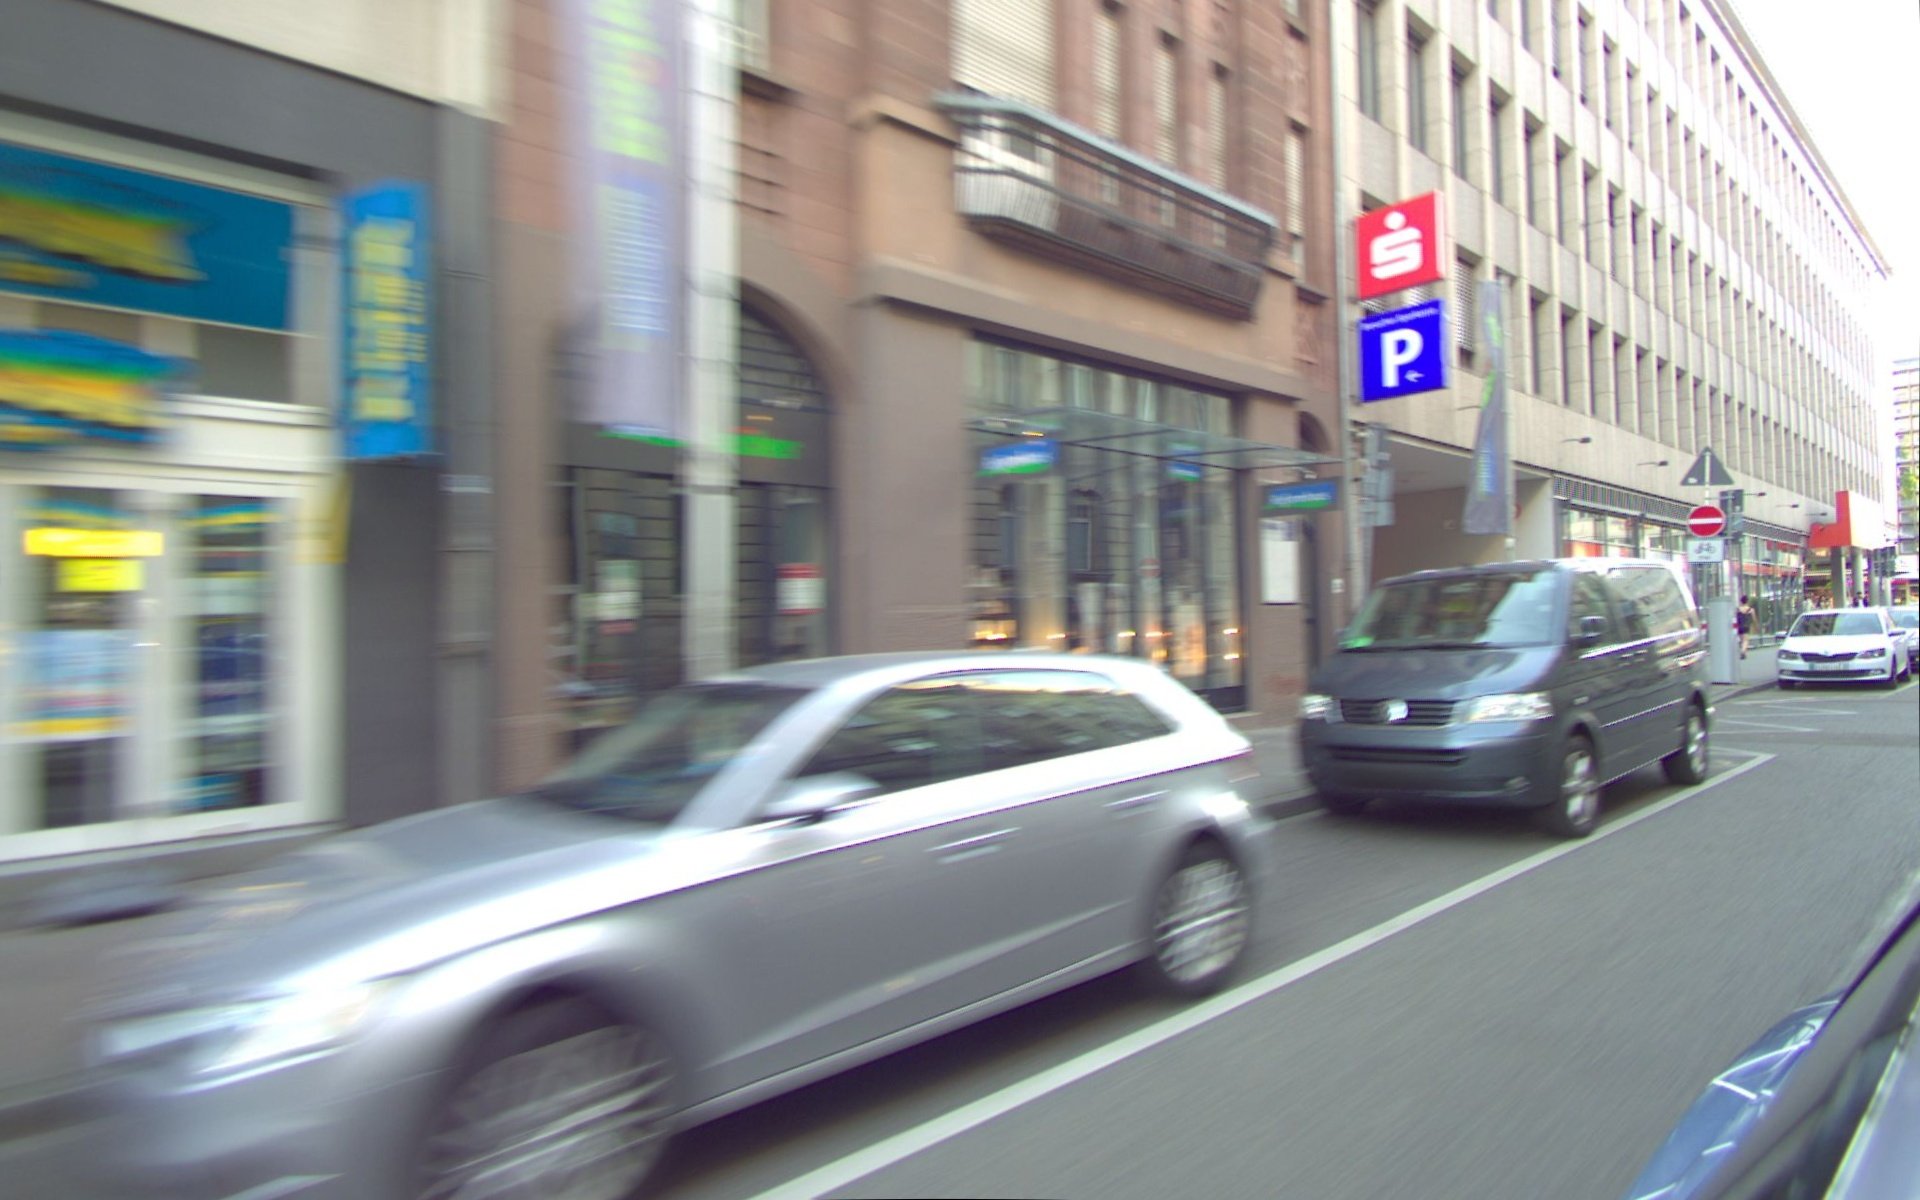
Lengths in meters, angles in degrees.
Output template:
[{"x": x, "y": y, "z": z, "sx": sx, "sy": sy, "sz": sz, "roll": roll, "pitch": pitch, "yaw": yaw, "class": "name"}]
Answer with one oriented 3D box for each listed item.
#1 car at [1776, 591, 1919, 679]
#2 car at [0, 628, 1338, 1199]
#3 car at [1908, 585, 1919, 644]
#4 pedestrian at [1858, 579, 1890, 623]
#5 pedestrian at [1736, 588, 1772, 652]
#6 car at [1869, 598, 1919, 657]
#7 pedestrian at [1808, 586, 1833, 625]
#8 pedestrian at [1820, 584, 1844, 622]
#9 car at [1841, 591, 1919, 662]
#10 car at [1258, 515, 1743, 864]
[{"x": 17.198, "y": 0.624, "z": 19.411, "sx": 4.233, "sy": 1.466, "sz": 1.659, "roll": -1, "pitch": -2, "yaw": -41, "class": "car"}, {"x": -0.557, "y": 0.919, "z": 3.856, "sx": 4.417, "sy": 1.472, "sz": 1.689, "roll": 0, "pitch": -4, "yaw": -39, "class": "car"}, {"x": 29.863, "y": 0.363, "z": 30.307, "sx": 4.732, "sy": 1.687, "sz": 1.777, "roll": -1, "pitch": -2, "yaw": -43, "class": "car"}, {"x": 40.658, "y": 0.065, "z": 45.030, "sx": 0.789, "sy": 1.943, "sz": 0.683, "roll": -1, "pitch": -1, "yaw": 16, "class": "pedestrian"}, {"x": 20.742, "y": 0.506, "z": 26.432, "sx": 0.639, "sy": 1.656, "sz": 0.649, "roll": 0, "pitch": 0, "yaw": -41, "class": "pedestrian"}, {"x": 25.676, "y": 0.692, "z": 26.919, "sx": 3.801, "sy": 1.466, "sz": 1.659, "roll": -1, "pitch": -2, "yaw": -40, "class": "car"}, {"x": 39.628, "y": 0.267, "z": 46.615, "sx": 0.676, "sy": 1.784, "sz": 0.797, "roll": 0, "pitch": -1, "yaw": -45, "class": "pedestrian"}, {"x": 40.431, "y": 0.142, "z": 46.927, "sx": 0.797, "sy": 1.784, "sz": 0.676, "roll": -2, "pitch": -1, "yaw": 44, "class": "pedestrian"}, {"x": 21.668, "y": 0.561, "z": 23.213, "sx": 4.370, "sy": 1.466, "sz": 1.658, "roll": -1, "pitch": -2, "yaw": -42, "class": "car"}, {"x": 4.711, "y": 0.531, "z": 8.414, "sx": 4.966, "sy": 2.085, "sz": 1.849, "roll": -1, "pitch": -2, "yaw": -41, "class": "car"}]
